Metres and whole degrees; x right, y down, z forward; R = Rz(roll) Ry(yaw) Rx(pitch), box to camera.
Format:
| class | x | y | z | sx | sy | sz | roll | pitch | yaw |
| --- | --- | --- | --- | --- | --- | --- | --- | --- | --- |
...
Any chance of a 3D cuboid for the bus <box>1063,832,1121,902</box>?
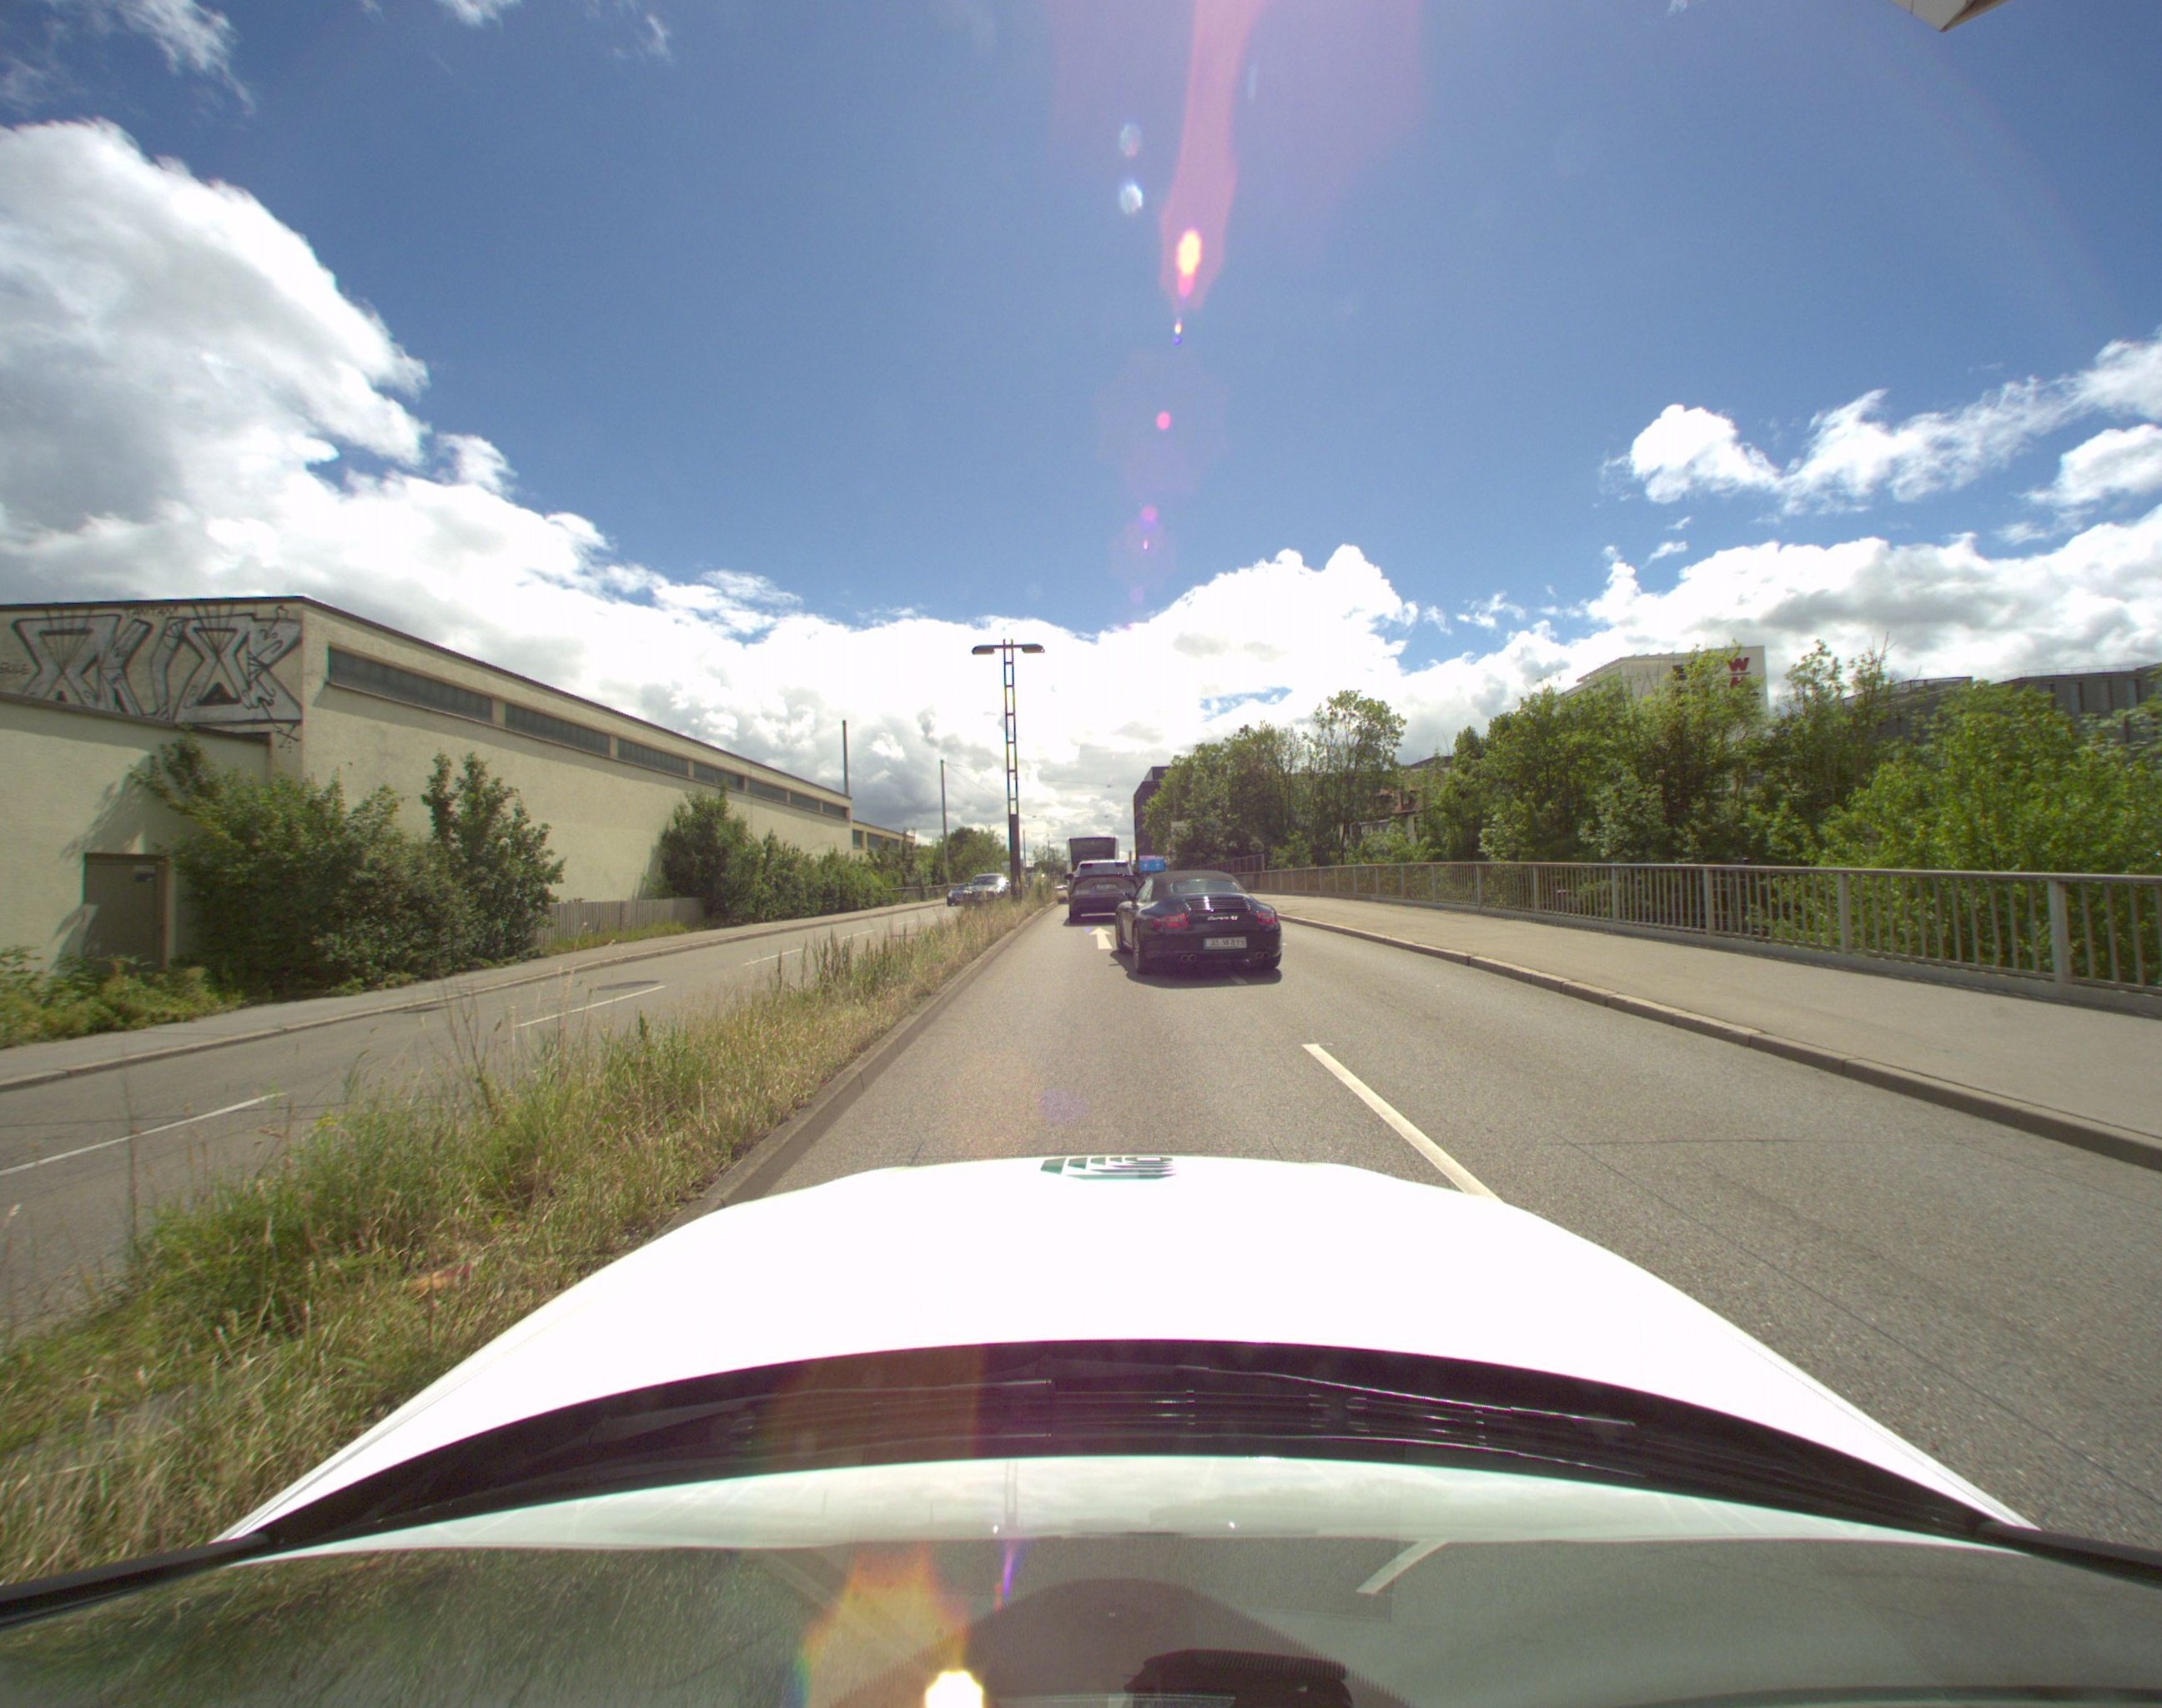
| class | x | y | z | sx | sy | sz | roll | pitch | yaw |
| --- | --- | --- | --- | --- | --- | --- | --- | --- | --- |
| bus | 0.701 | 0.529 | 44.523 | 2.679 | 3.255 | 12.062 | -1 | 1 | 2 |

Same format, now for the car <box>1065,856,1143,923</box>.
| class | x | y | z | sx | sy | sz | roll | pitch | yaw |
| --- | --- | --- | --- | --- | --- | --- | --- | --- | --- |
| car | 0.625 | 0.880 | 21.836 | 1.872 | 1.594 | 4.231 | -1 | 0 | 2 |

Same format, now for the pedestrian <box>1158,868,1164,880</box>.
| class | x | y | z | sx | sy | sz | roll | pitch | yaw |
| --- | --- | --- | --- | --- | --- | --- | --- | --- | --- |
| pedestrian | 11.211 | 2.760 | 114.097 | 0.673 | 1.696 | 0.602 | -3 | -3 | 26 |

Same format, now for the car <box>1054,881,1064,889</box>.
| class | x | y | z | sx | sy | sz | roll | pitch | yaw |
| --- | --- | --- | --- | --- | --- | --- | --- | --- | --- |
| car | -4.134 | 5.868 | 154.488 | 1.631 | 1.363 | 4.194 | -3 | -2 | 0 |

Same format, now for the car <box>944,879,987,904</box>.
| class | x | y | z | sx | sy | sz | roll | pitch | yaw |
| --- | --- | --- | --- | --- | --- | --- | --- | --- | --- |
| car | -6.745 | 2.170 | 47.941 | 1.748 | 1.276 | 4.000 | -5 | -2 | 1 |

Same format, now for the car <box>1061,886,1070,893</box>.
| class | x | y | z | sx | sy | sz | roll | pitch | yaw |
| --- | --- | --- | --- | --- | --- | --- | --- | --- | --- |
| car | -3.272 | 7.629 | 175.191 | 1.804 | 1.560 | 4.206 | -1 | -2 | 0 |

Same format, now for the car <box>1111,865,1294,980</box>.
| class | x | y | z | sx | sy | sz | roll | pitch | yaw |
| --- | --- | --- | --- | --- | --- | --- | --- | --- | --- |
| car | 1.502 | 0.825 | 11.579 | 1.716 | 1.275 | 4.082 | -1 | 0 | -4 |

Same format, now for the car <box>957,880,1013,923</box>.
| class | x | y | z | sx | sy | sz | roll | pitch | yaw |
| --- | --- | --- | --- | --- | --- | --- | --- | --- | --- |
| car | -4.327 | 2.110 | 37.440 | 1.871 | 1.627 | 4.443 | -4 | 0 | 1 |
